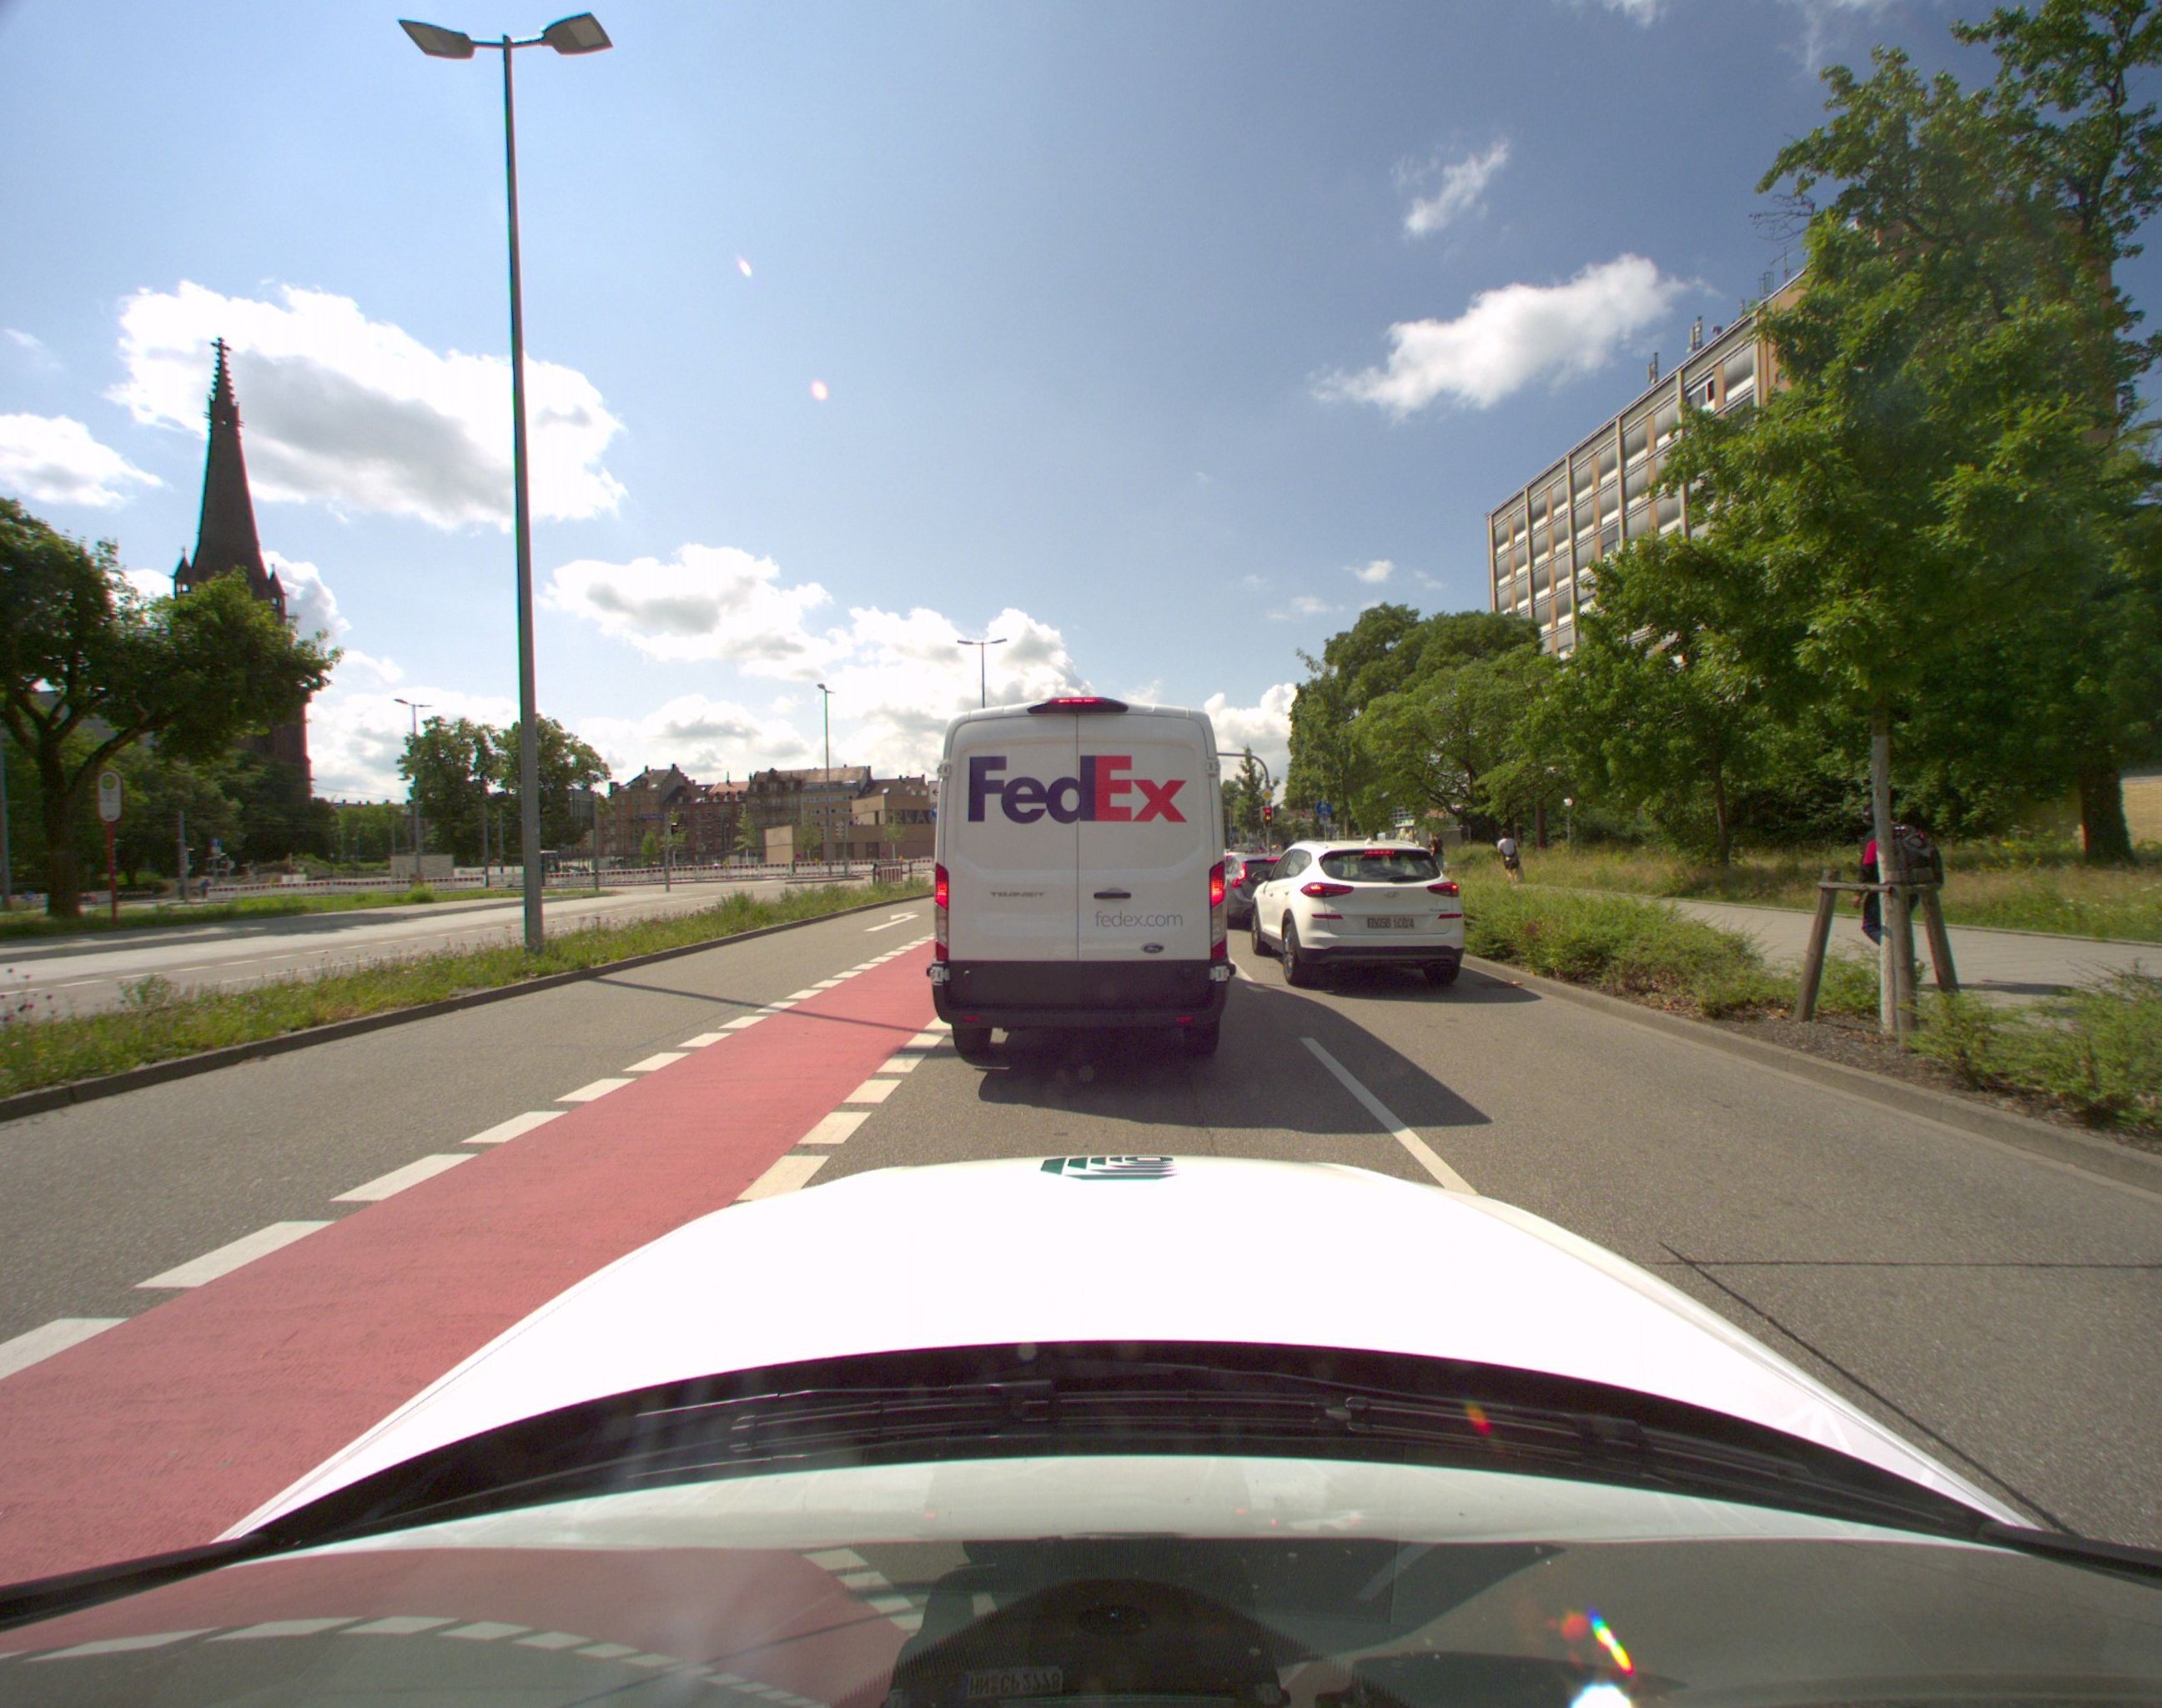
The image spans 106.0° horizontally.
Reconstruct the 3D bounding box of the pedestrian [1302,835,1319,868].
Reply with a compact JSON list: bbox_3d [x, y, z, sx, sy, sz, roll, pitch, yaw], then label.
[{"bbox_3d":[13.094,-0.126,46.452,0.755,1.849,0.817,-2,0,5],"label":"pedestrian"}]

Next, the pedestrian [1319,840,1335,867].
[{"bbox_3d":[16.851,-0.024,55.791,0.758,1.849,0.814,-2,0,-8],"label":"pedestrian"}]

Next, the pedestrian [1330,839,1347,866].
[{"bbox_3d":[17.716,-0.092,56.010,0.758,1.849,0.814,-2,0,-6],"label":"pedestrian"}]

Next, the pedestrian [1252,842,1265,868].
[{"bbox_3d":[13.025,0.063,59.796,0.810,1.849,0.762,-2,0,5],"label":"pedestrian"}]

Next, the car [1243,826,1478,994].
[{"bbox_3d":[3.270,0.563,10.386,1.807,1.678,3.978,-2,0,3],"label":"car"}]

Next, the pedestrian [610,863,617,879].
[{"bbox_3d":[-47.707,1.740,83.109,0.420,1.652,0.420,-1,-1,36],"label":"pedestrian"}]

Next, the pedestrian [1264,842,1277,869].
[{"bbox_3d":[13.157,0.102,56.535,0.752,1.849,0.820,-2,0,20],"label":"pedestrian"}]

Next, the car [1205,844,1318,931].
[{"bbox_3d":[3.609,0.598,16.858,1.684,1.549,3.724,-2,0,3],"label":"car"}]

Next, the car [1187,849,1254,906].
[{"bbox_3d":[3.912,0.605,23.306,1.493,1.464,3.477,-2,0,3],"label":"car"}]

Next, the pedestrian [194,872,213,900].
[{"bbox_3d":[-64.647,2.383,60.011,0.629,2.013,0.648,-2,0,-4],"label":"pedestrian"}]

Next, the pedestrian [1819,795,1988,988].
[{"bbox_3d":[7.613,0.334,7.587,0.753,1.684,0.819,-2,0,13],"label":"pedestrian"}]

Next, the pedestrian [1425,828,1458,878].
[{"bbox_3d":[12.216,-0.027,27.610,0.755,1.655,0.817,-2,0,5],"label":"pedestrian"}]

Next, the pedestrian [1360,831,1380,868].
[{"bbox_3d":[14.086,-0.223,39.660,0.754,1.789,0.818,-2,0,10],"label":"pedestrian"}]

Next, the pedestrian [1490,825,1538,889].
[{"bbox_3d":[10.911,0.065,20.529,0.755,1.557,0.817,-2,0,3],"label":"pedestrian"}]

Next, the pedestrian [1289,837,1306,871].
[{"bbox_3d":[12.220,0.002,45.991,0.755,1.849,0.817,-2,0,3],"label":"pedestrian"}]

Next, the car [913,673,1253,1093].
[{"bbox_3d":[0.137,0.174,7.324,2.064,2.581,4.432,-2,0,3],"label":"car"}]

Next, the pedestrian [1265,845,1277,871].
[{"bbox_3d":[13.719,0.314,58.878,0.753,1.849,0.820,-2,0,16],"label":"pedestrian"}]
